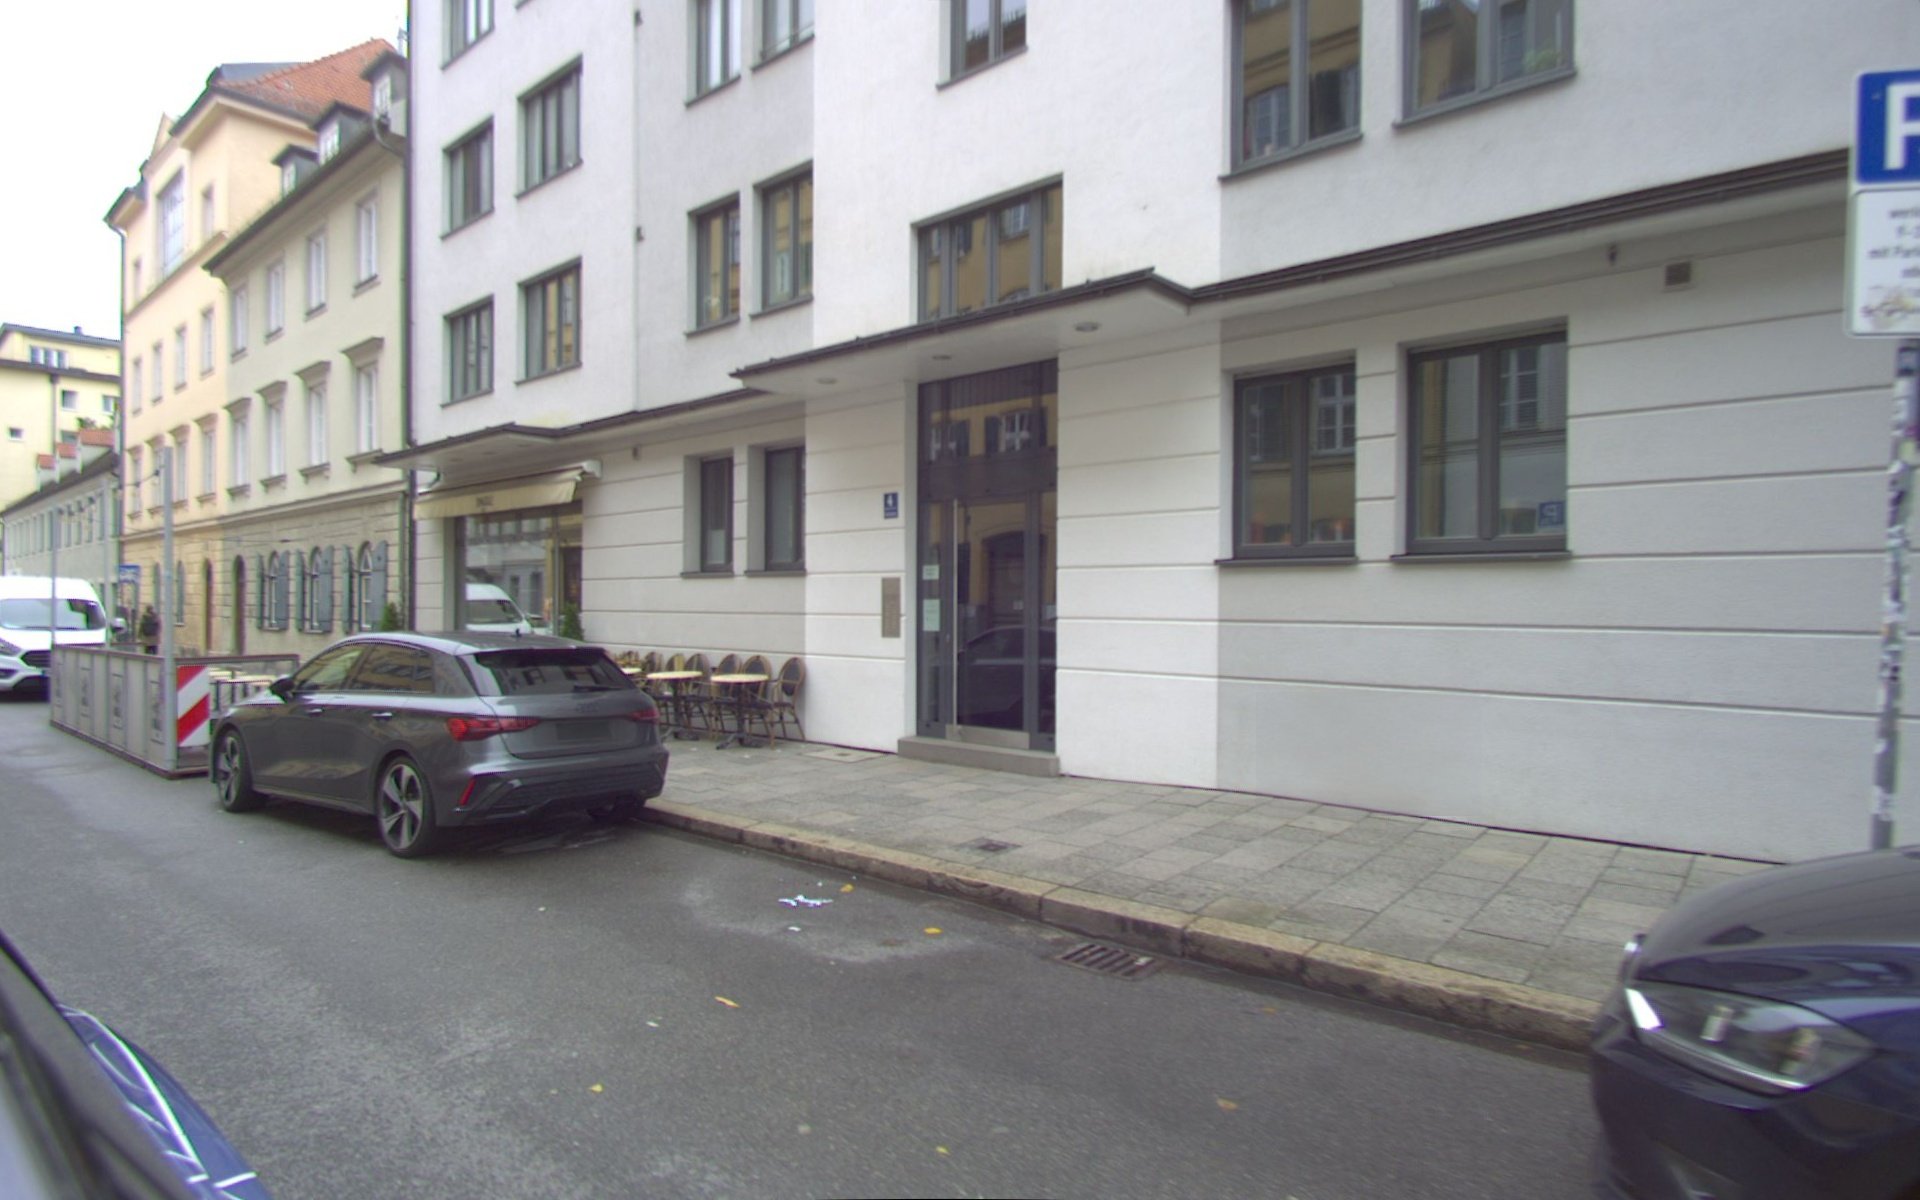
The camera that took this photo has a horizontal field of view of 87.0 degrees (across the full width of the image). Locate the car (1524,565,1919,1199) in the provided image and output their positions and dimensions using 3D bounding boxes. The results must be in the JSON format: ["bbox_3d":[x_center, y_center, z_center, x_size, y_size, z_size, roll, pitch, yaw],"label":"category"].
[{"bbox_3d":[3.238,0.715,1.269,4.156,1.551,1.755,-2,-3,40],"label":"car"}]

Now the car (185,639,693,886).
[{"bbox_3d":[-3.970,0.979,7.491,4.049,1.365,1.625,-1,-3,35],"label":"car"}]

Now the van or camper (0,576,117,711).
[{"bbox_3d":[-18.197,0.802,19.718,5.477,2.329,1.972,-1,-2,42],"label":"van or camper"}]

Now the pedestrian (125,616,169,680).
[{"bbox_3d":[-22.581,1.323,28.125,1.021,1.725,0.797,-2,-2,42],"label":"pedestrian"}]

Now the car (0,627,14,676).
[{"bbox_3d":[-29.680,1.514,29.954,4.263,1.412,1.840,-1,-1,38],"label":"car"}]

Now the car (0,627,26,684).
[{"bbox_3d":[-26.210,1.451,26.642,4.265,1.412,1.839,-1,-1,39],"label":"car"}]

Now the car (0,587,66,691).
[{"bbox_3d":[-22.141,0.877,23.167,4.557,2.218,1.839,-1,-1,40],"label":"car"}]

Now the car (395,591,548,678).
[{"bbox_3d":[-12.454,0.846,25.677,4.399,2.029,1.972,-1,-2,42],"label":"car"}]
